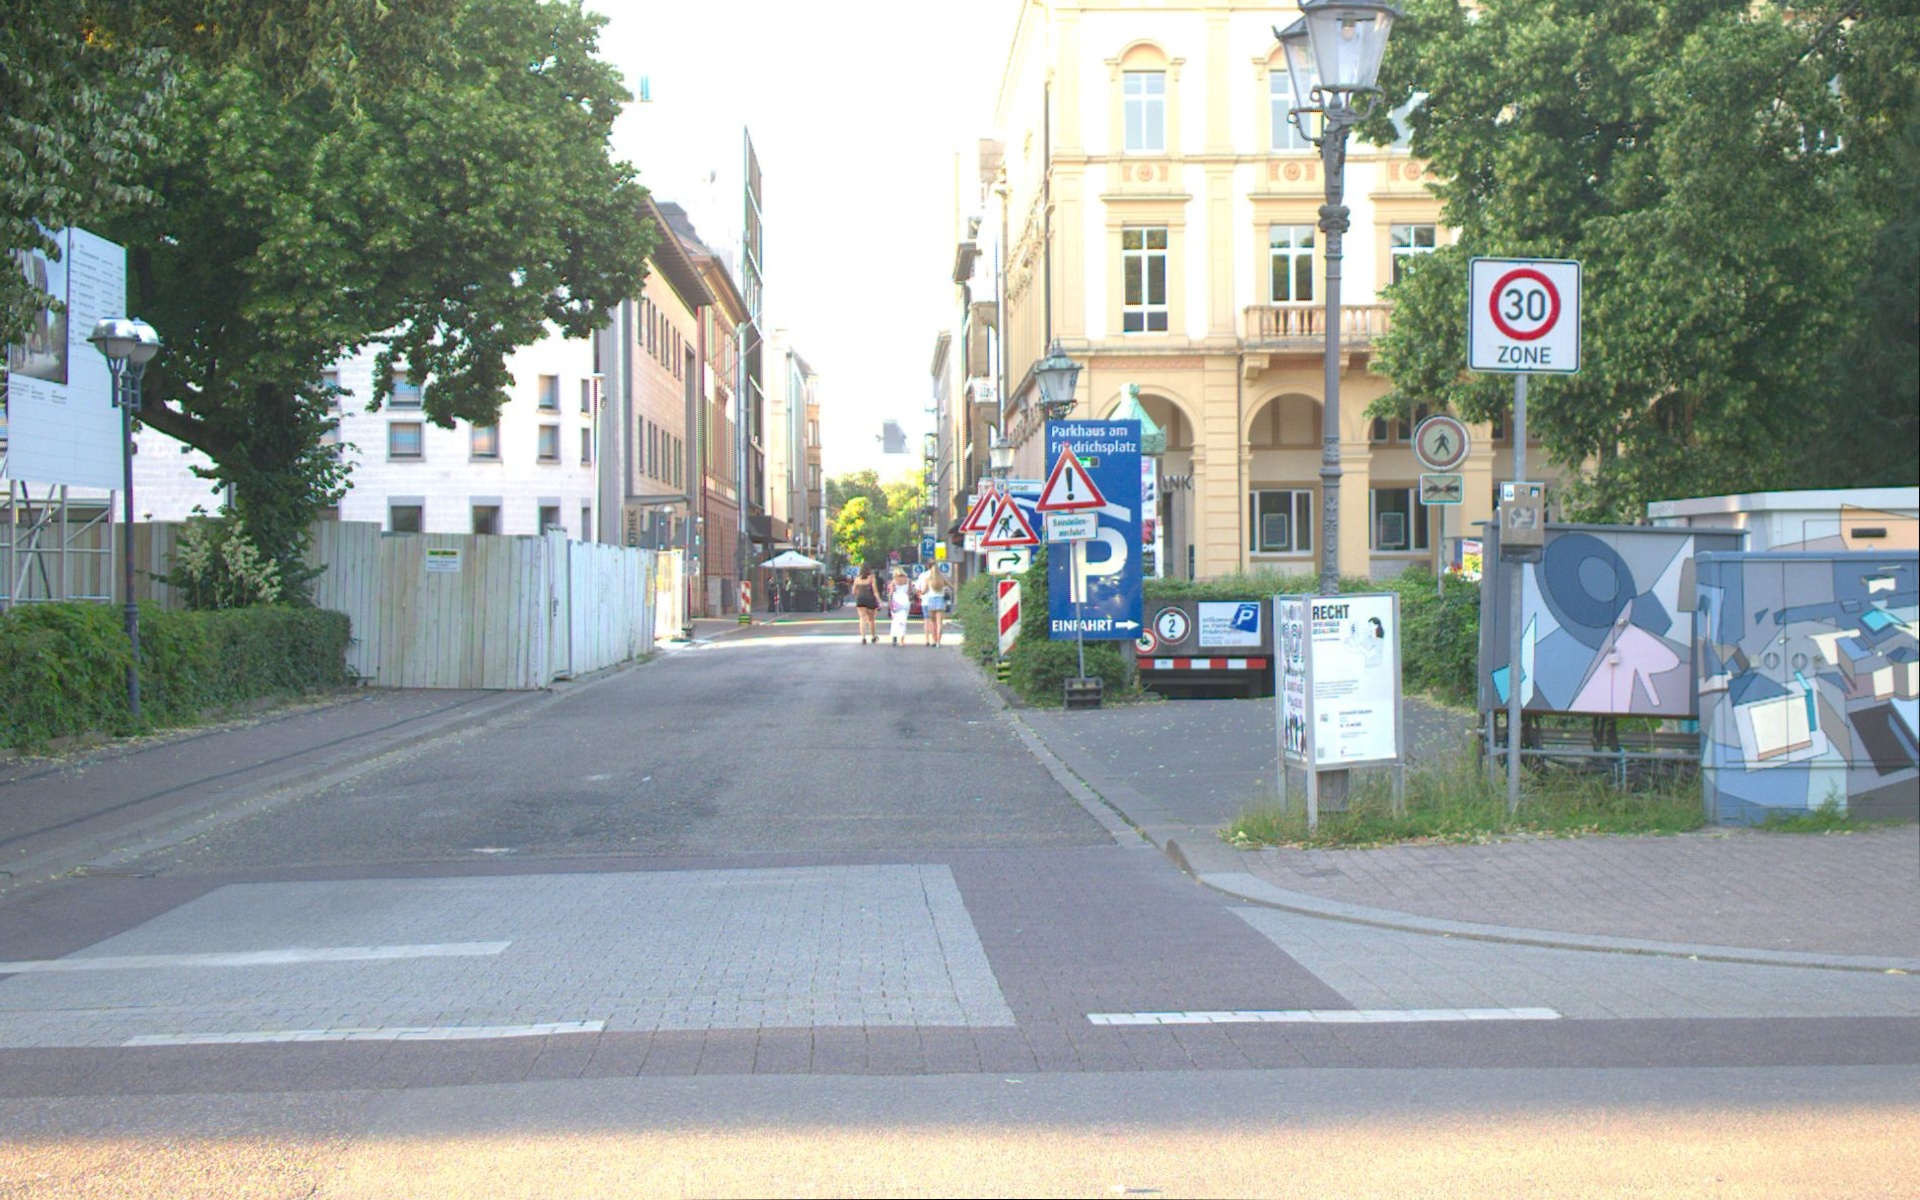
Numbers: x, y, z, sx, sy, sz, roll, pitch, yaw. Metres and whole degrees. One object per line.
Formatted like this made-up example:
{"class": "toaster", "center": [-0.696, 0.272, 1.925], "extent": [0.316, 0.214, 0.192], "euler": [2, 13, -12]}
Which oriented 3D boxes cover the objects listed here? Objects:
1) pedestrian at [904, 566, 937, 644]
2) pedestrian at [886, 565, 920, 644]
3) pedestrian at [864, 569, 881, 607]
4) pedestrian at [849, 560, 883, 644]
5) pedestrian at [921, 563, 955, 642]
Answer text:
{"class": "pedestrian", "center": [-0.830, 0.099, 72.360], "extent": [0.657, 1.630, 0.745], "euler": [-1, 0, -1]}
{"class": "pedestrian", "center": [-1.174, 0.093, 71.097], "extent": [0.657, 1.611, 0.745], "euler": [-1, 0, -1]}
{"class": "pedestrian", "center": [-4.231, -0.597, 166.407], "extent": [0.742, 1.828, 0.762], "euler": [-1, 0, -7]}
{"class": "pedestrian", "center": [-1.976, 0.045, 72.343], "extent": [0.657, 1.754, 0.745], "euler": [-1, 0, -1]}
{"class": "pedestrian", "center": [-0.459, 0.054, 71.108], "extent": [0.657, 1.611, 0.745], "euler": [-1, 0, -1]}
